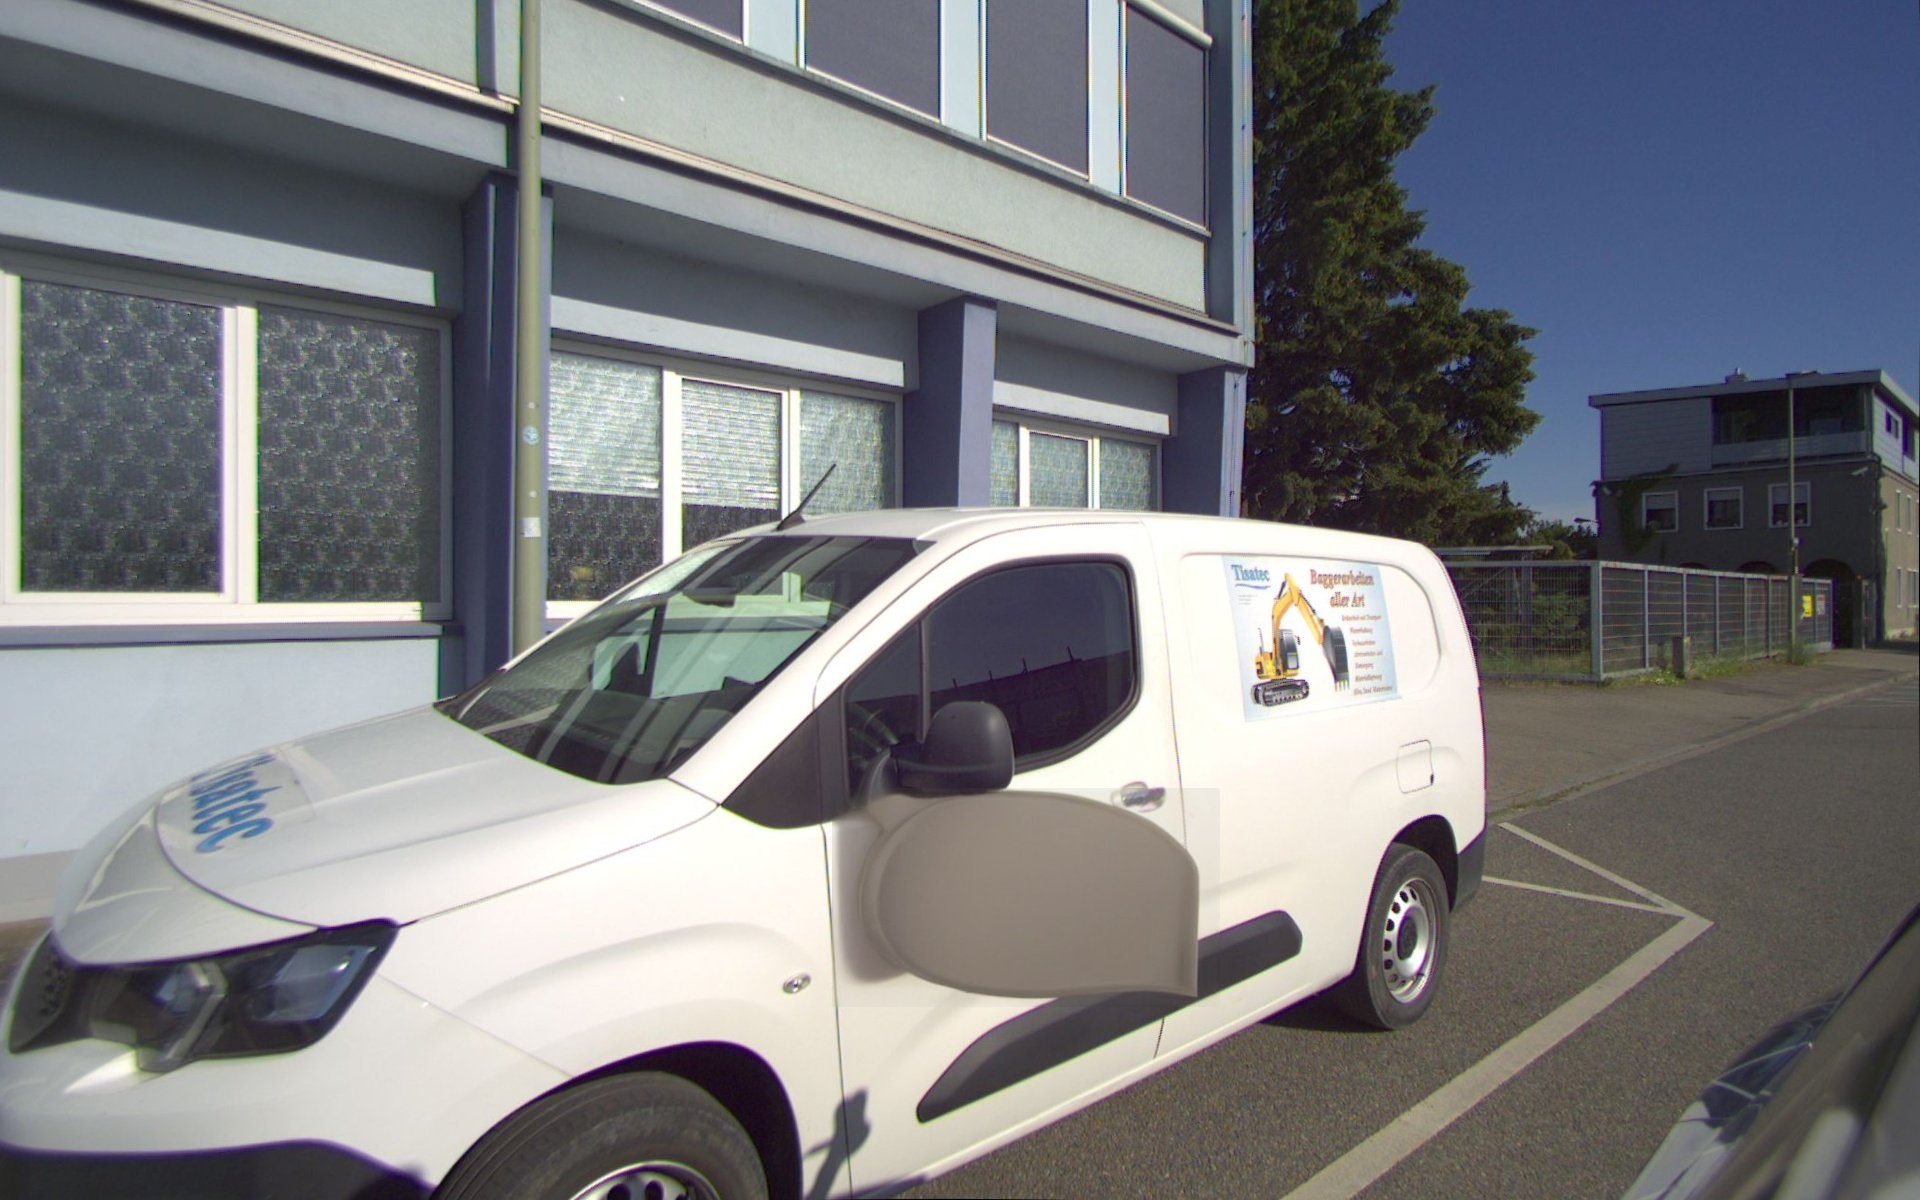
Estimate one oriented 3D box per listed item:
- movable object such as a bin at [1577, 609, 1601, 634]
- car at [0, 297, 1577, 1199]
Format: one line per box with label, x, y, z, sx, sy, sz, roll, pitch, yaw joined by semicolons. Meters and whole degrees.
movable object such as a bin;25.705;0.883;41.357;0.736;0.984;0.616;-2;1;-40
car;0.009;0.563;3.318;4.999;1.855;1.893;-1;0;-39
